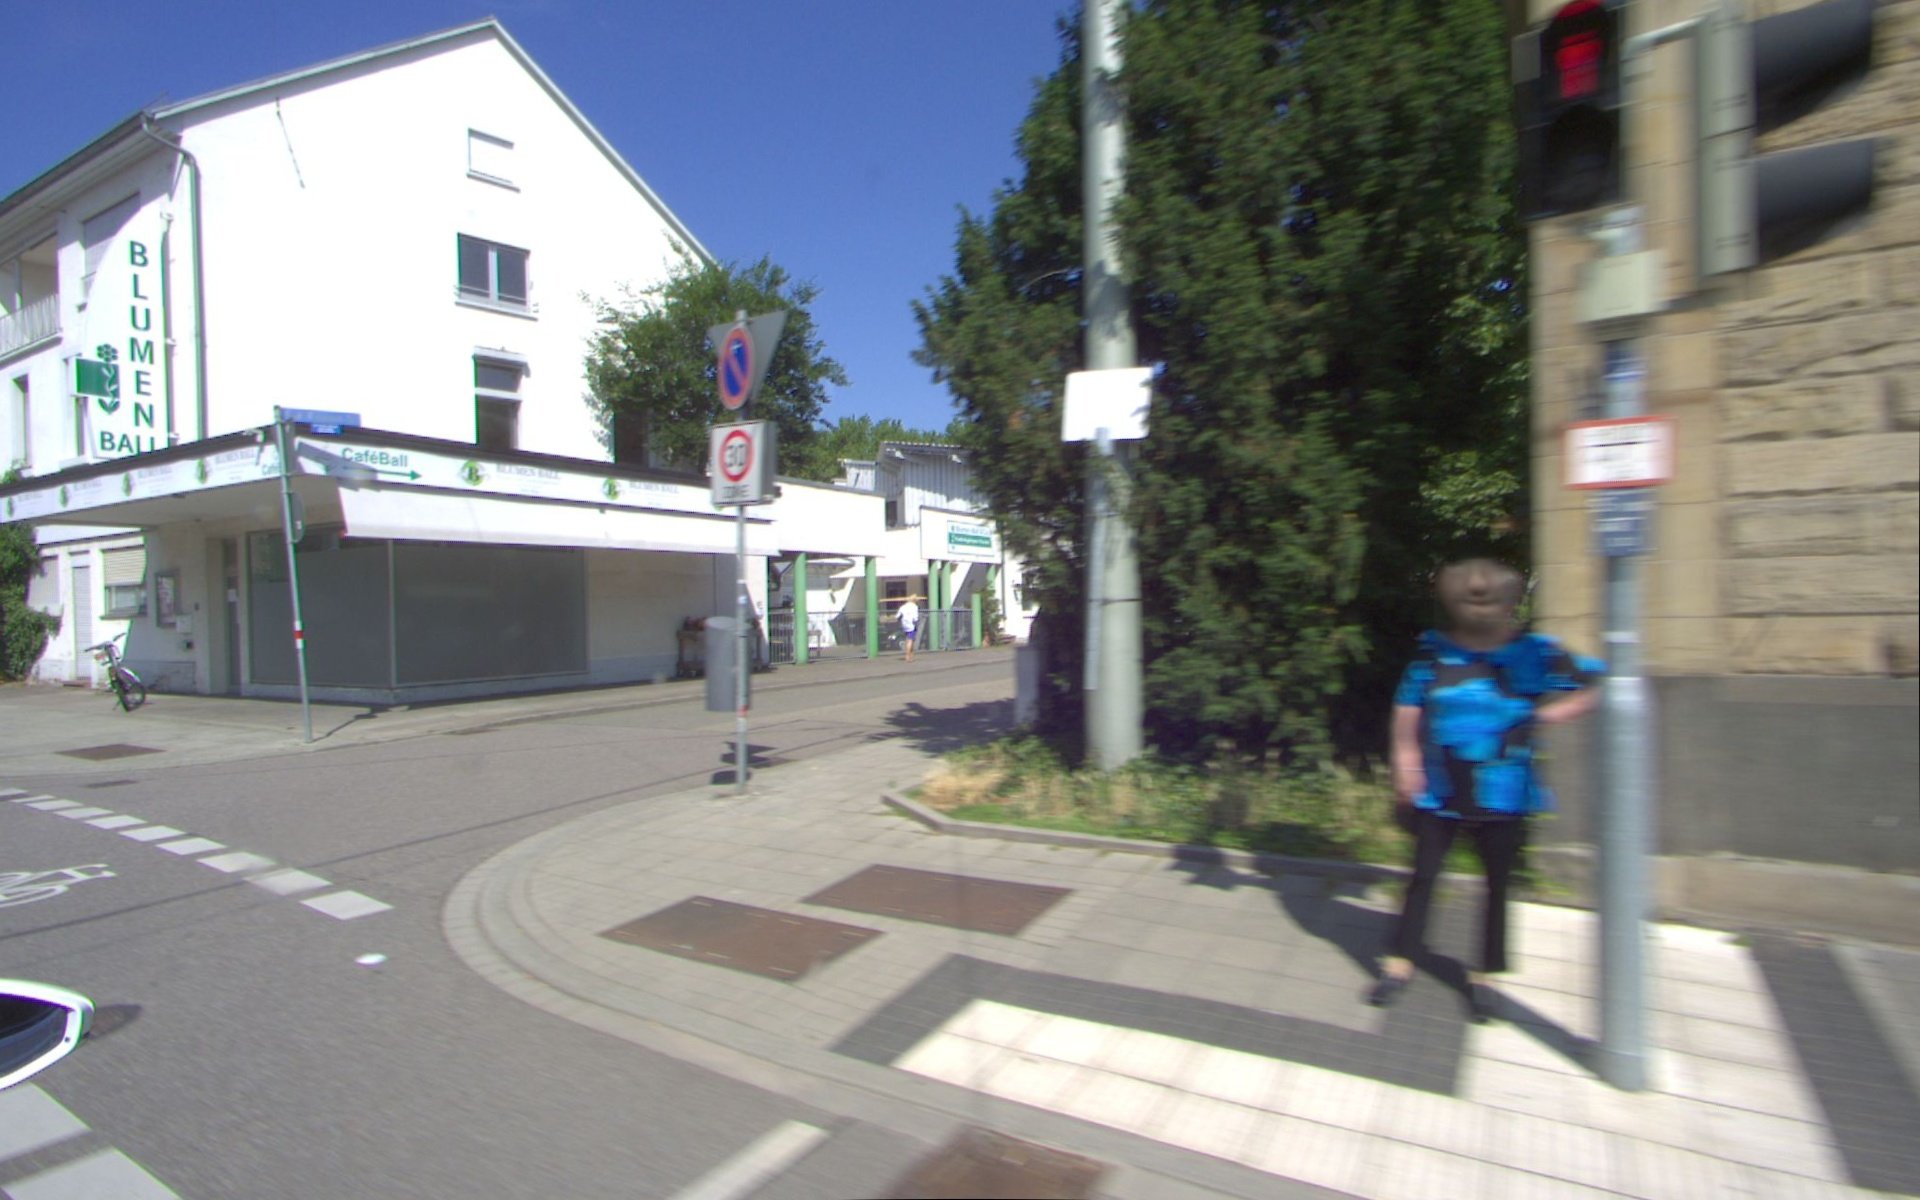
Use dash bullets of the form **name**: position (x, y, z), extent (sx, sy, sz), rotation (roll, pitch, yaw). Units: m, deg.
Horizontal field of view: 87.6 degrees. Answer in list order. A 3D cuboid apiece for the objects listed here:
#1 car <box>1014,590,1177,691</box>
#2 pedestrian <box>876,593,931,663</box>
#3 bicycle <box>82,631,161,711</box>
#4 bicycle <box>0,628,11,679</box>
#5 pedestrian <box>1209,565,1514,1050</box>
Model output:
- **car**: position (2.529, 0.635, 17.953), extent (1.707, 1.589, 3.714), rotation (1, 1, 28)
- **pedestrian**: position (-1.379, 0.664, 24.455), extent (1.017, 1.671, 0.959), rotation (0, 1, 25)
- **bicycle**: position (-13.271, 1.082, 15.820), extent (2.172, 1.154, 0.721), rotation (-1, 0, 44)
- **bicycle**: position (-22.419, 1.233, 22.340), extent (0.518, 1.145, 1.708), rotation (-1, 0, 33)
- **pedestrian**: position (1.500, 0.661, 3.726), extent (0.848, 1.530, 0.775), rotation (-1, 1, 39)
